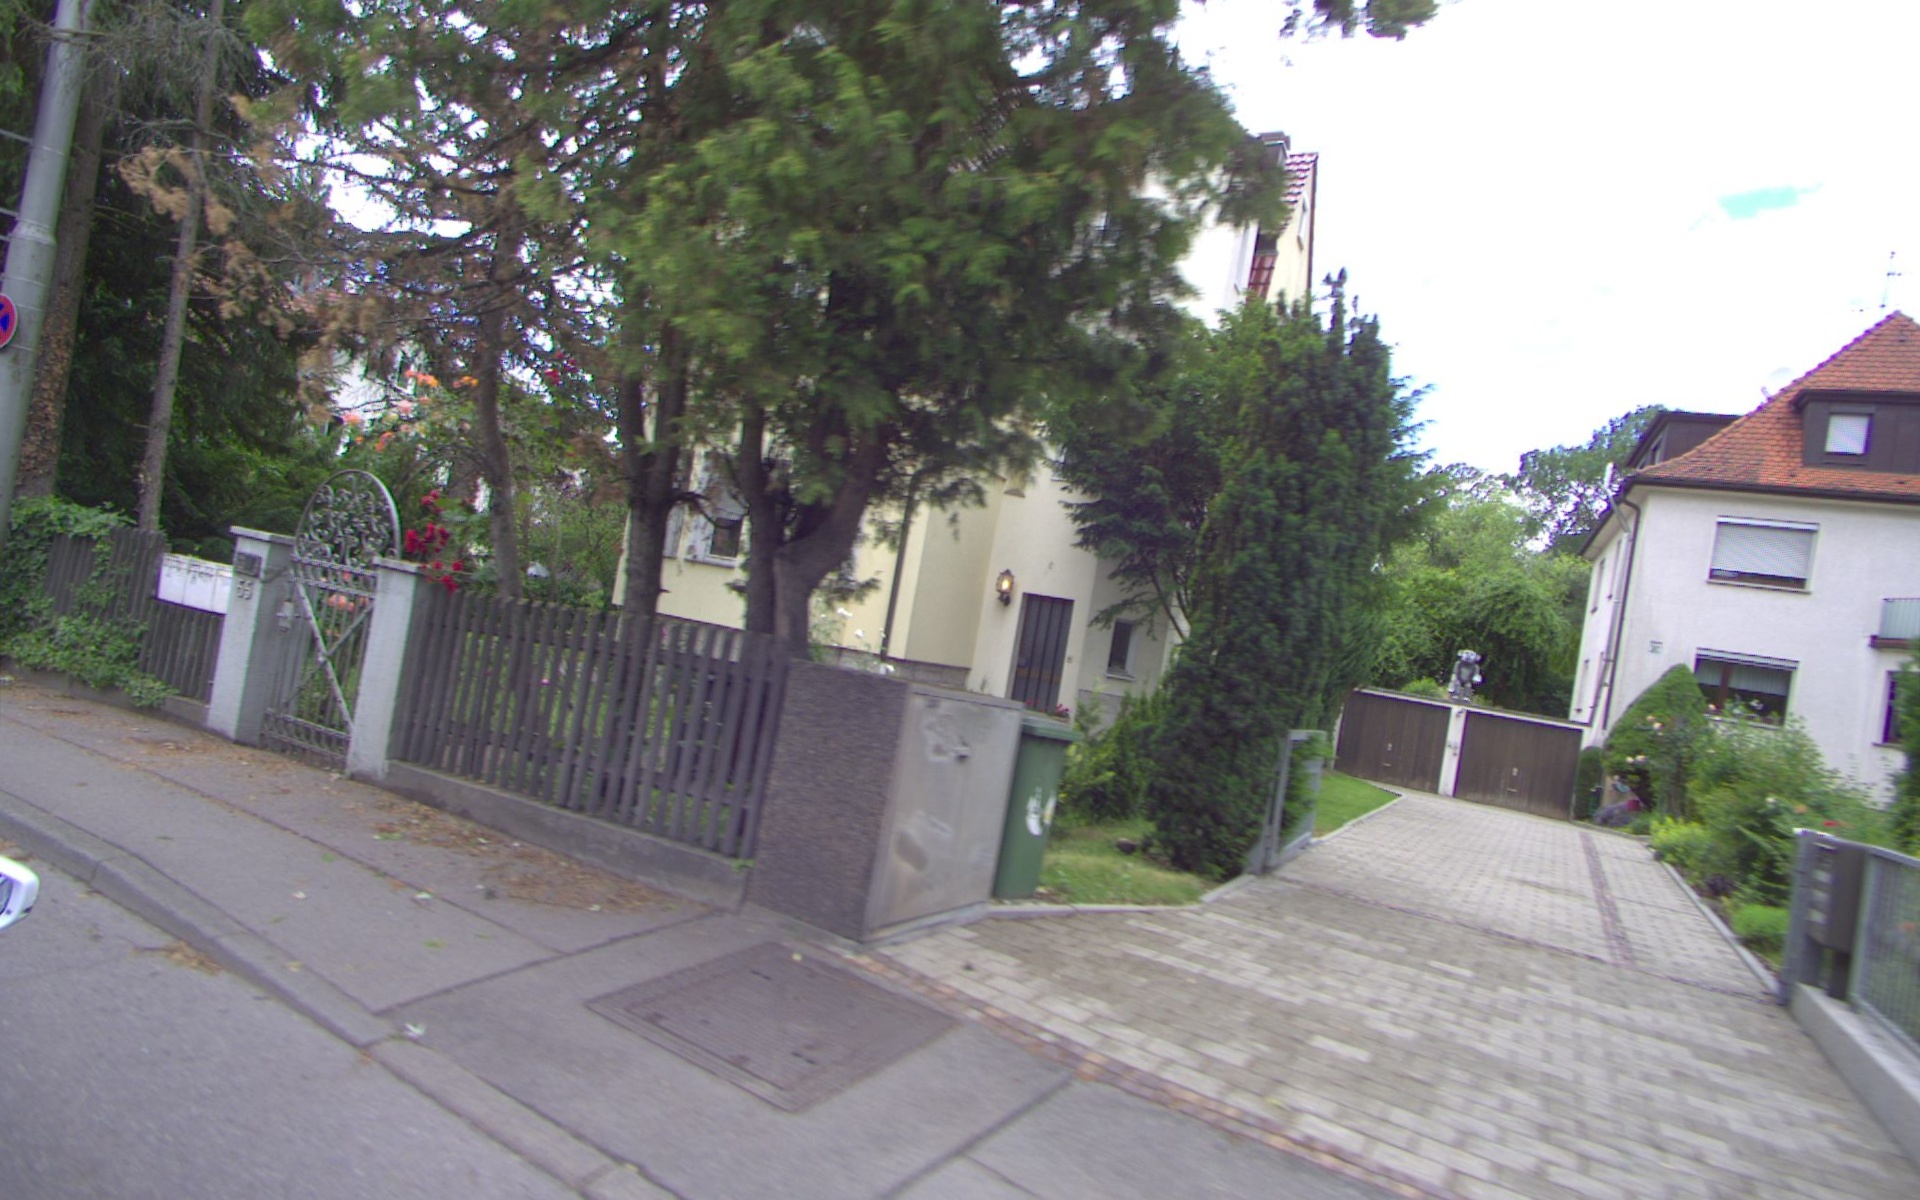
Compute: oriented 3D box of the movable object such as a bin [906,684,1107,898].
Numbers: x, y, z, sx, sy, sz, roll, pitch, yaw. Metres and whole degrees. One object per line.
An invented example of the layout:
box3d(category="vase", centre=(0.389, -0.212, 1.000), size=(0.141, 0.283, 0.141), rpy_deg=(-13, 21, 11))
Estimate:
box3d(category="movable object such as a bin", centre=(0.284, 1.097, 5.991), size=(0.771, 1.060, 0.777), rpy_deg=(6, -2, 39))
